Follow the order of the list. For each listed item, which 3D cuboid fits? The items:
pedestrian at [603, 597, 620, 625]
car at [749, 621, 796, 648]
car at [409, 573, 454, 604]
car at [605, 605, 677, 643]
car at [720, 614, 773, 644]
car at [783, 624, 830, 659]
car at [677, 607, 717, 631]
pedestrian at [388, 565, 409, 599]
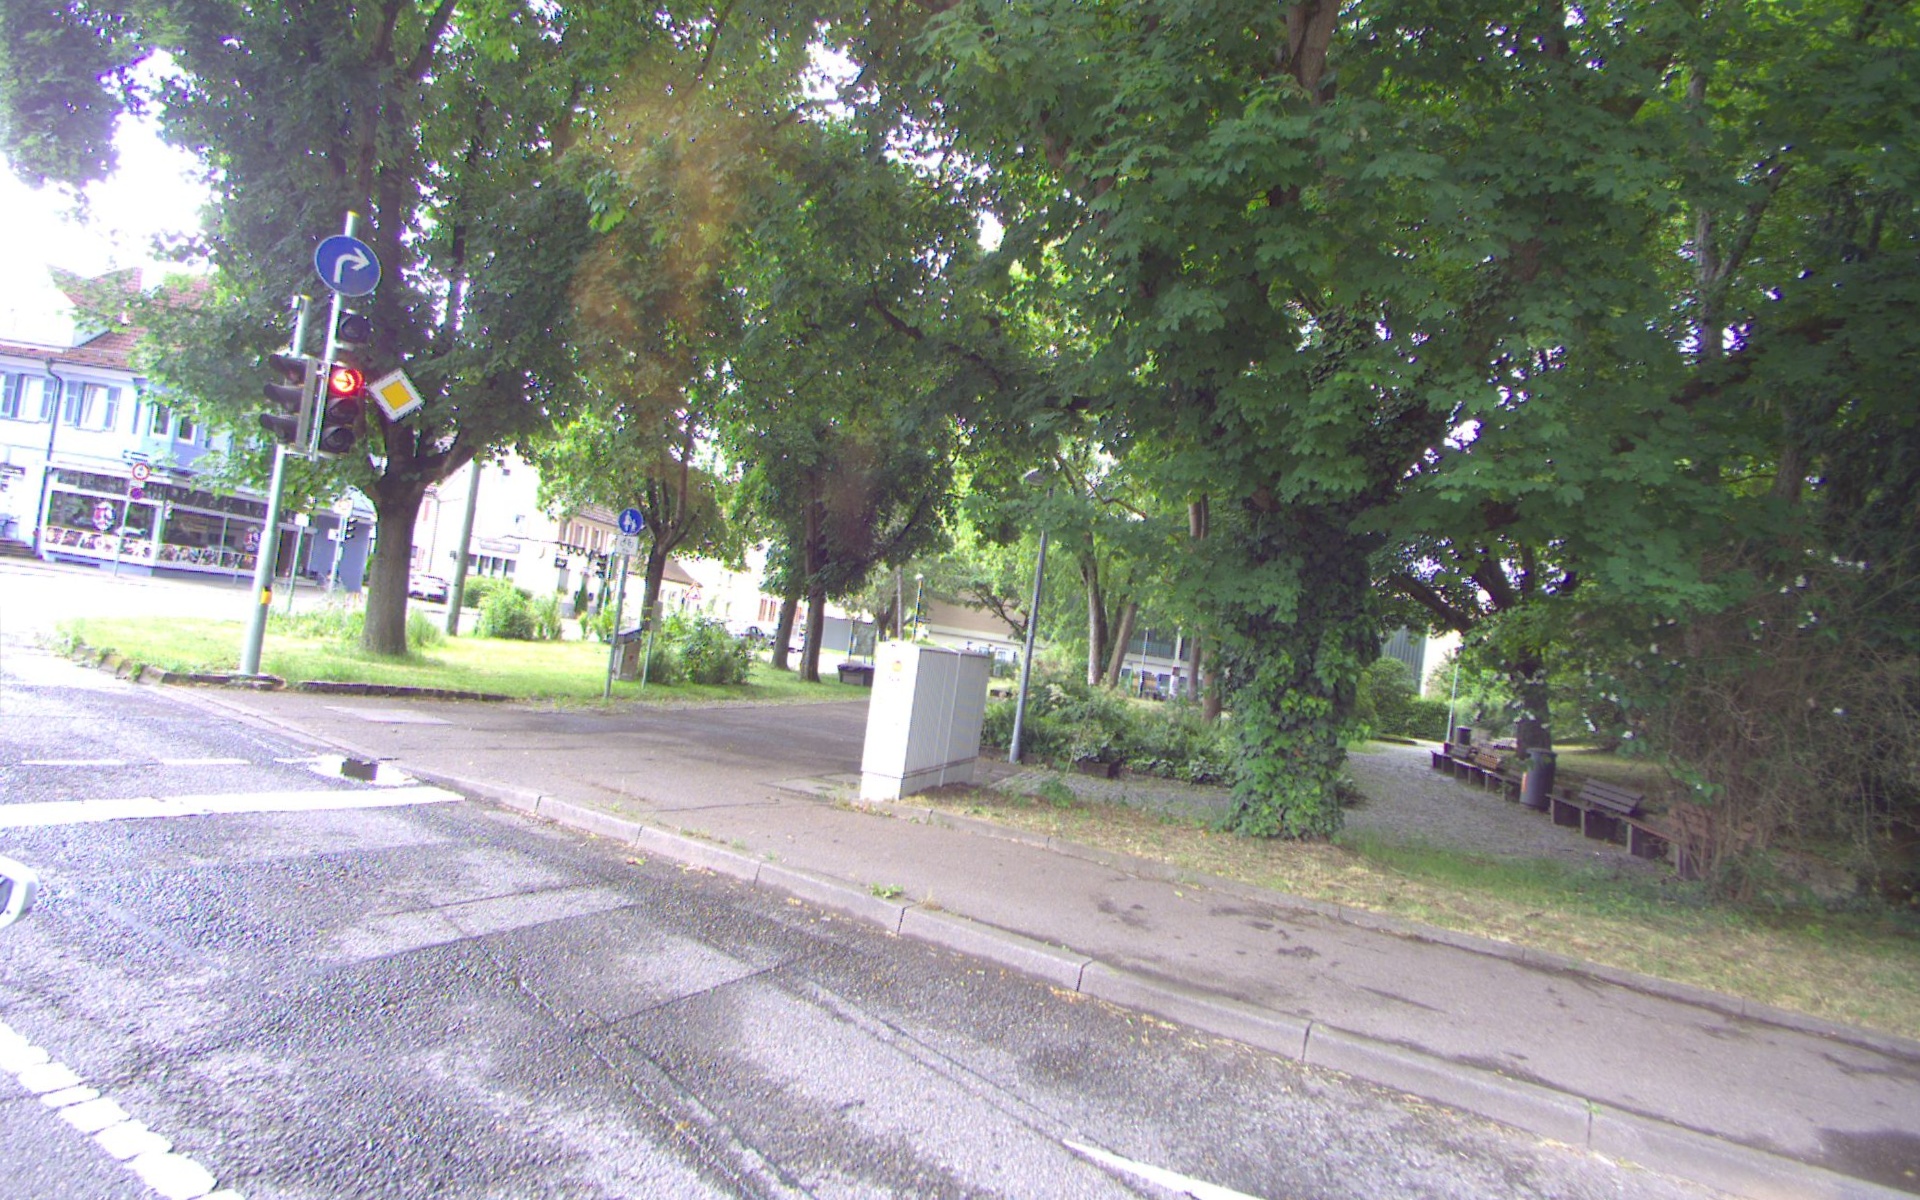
[{"bbox_3d":[-21.417,0.685,61.898,0.600,1.668,0.610,7,-1,3],"label":"pedestrian"},{"bbox_3d":[-11.173,2.070,60.116,1.530,1.336,3.514,7,-2,8],"label":"car"},{"bbox_3d":[-27.876,-0.603,53.154,1.479,1.384,3.166,8,-2,-19],"label":"car"},{"bbox_3d":[-14.015,1.089,44.366,1.530,1.336,3.514,7,-2,9],"label":"car"},{"bbox_3d":[-11.574,1.597,54.831,1.530,1.336,3.514,7,-2,9],"label":"car"},{"bbox_3d":[-10.061,2.758,66.184,1.750,2.037,4.005,7,-2,7],"label":"car"},{"bbox_3d":[-19.376,1.443,74.258,1.528,1.436,4.005,7,-2,4],"label":"car"},{"bbox_3d":[-27.027,-0.849,48.418,0.577,1.535,0.459,7,-1,-8],"label":"pedestrian"}]
